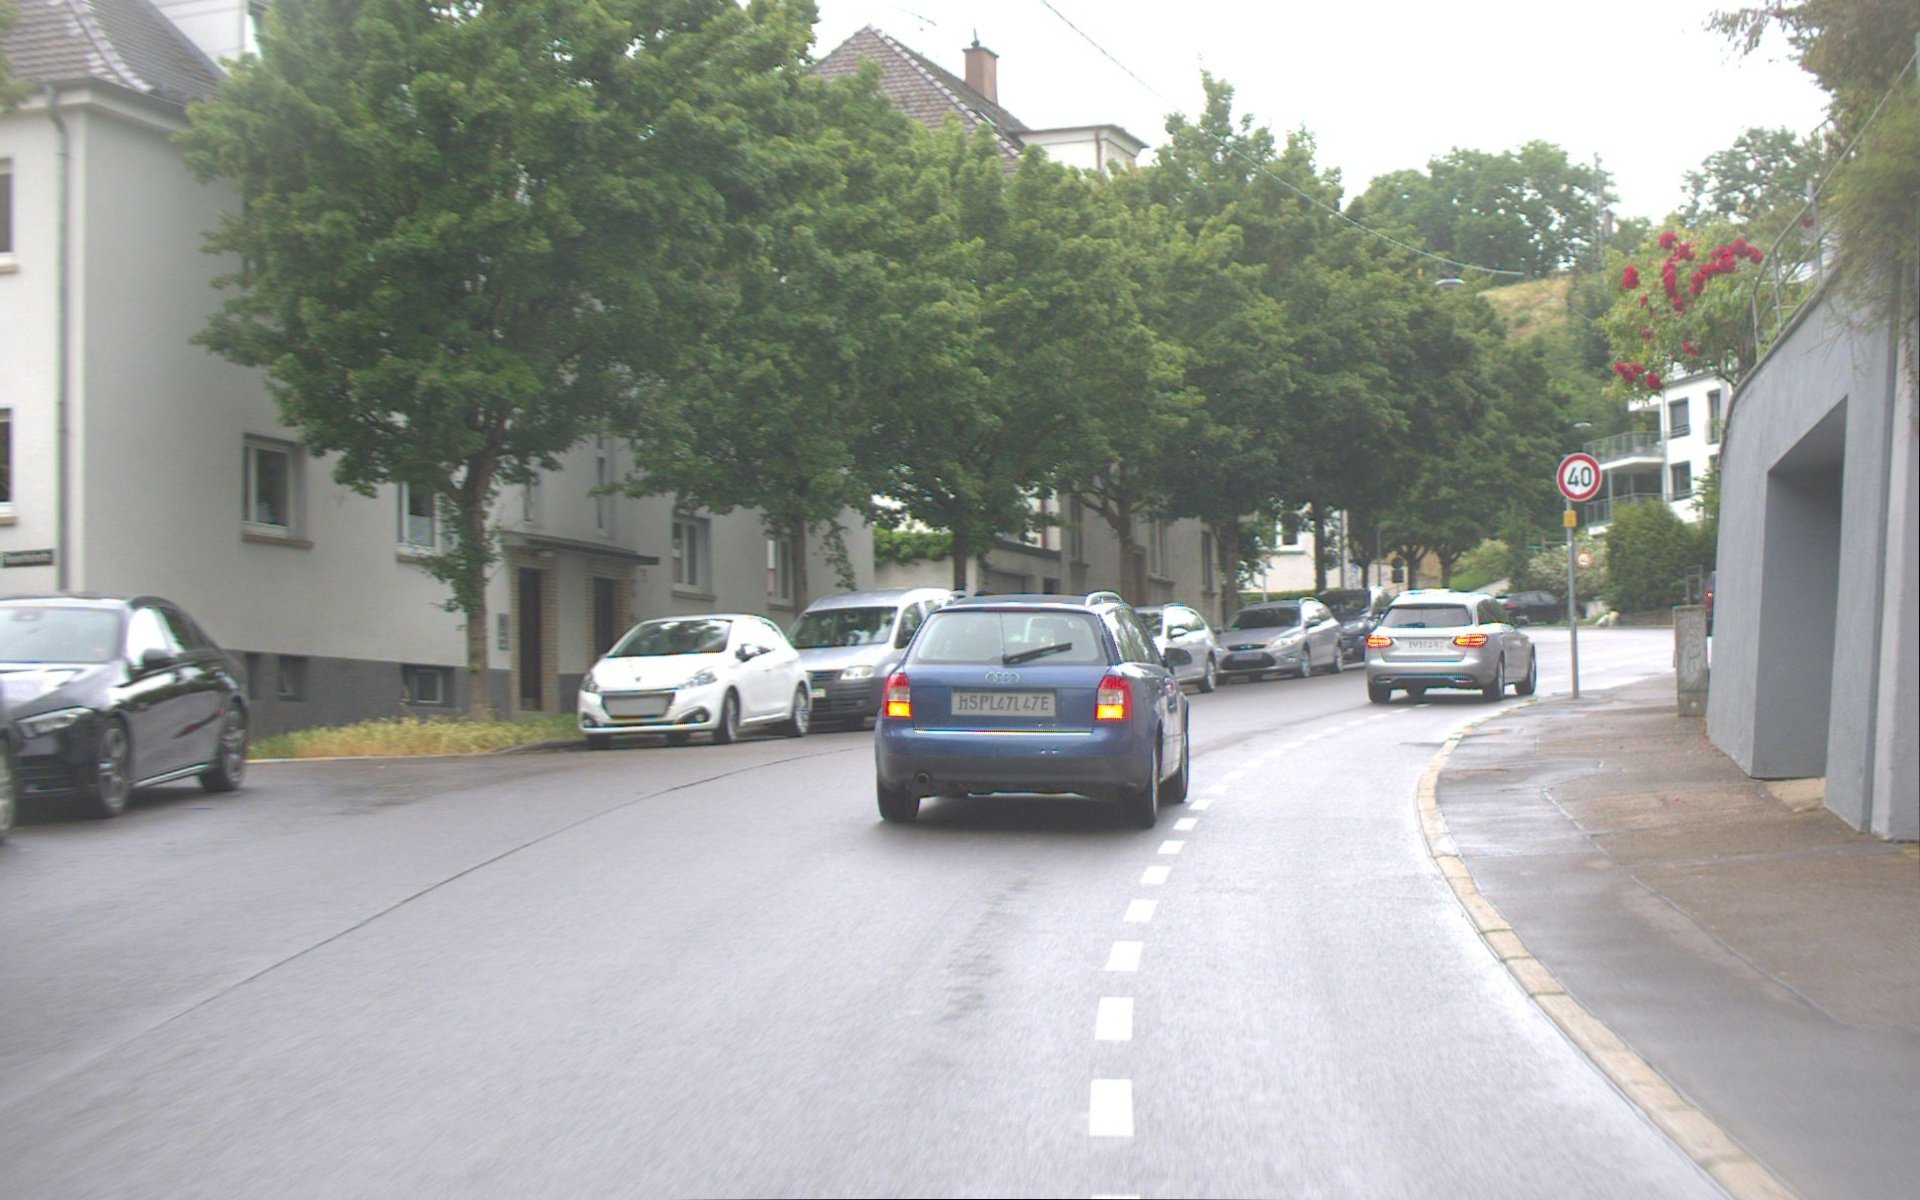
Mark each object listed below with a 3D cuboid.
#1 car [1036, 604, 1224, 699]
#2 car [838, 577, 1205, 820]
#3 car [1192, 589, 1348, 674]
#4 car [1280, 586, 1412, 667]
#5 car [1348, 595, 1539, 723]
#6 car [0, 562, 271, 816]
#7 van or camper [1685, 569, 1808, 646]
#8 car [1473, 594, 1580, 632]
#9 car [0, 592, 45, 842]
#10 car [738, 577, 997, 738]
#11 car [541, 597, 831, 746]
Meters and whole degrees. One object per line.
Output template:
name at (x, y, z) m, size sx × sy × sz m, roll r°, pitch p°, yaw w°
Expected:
car at (2.763, 0.827, 54.696) m, size 1.806 × 1.448 × 4.592 m, roll 0°, pitch -1°, yaw 19°
car at (0.510, 0.575, 22.416) m, size 1.854 × 1.409 × 4.360 m, roll -1°, pitch 0°, yaw 8°
car at (5.894, 0.616, 64.889) m, size 1.806 × 1.547 × 4.795 m, roll 0°, pitch -1°, yaw 19°
car at (7.984, 0.535, 70.865) m, size 1.806 × 1.621 × 4.135 m, roll 0°, pitch 0°, yaw 19°
car at (6.651, 0.762, 46.957) m, size 1.951 × 1.556 × 4.260 m, roll 2°, pitch 1°, yaw 16°
car at (-6.089, 0.537, 23.141) m, size 1.775 × 1.535 × 4.516 m, roll 1°, pitch 0°, yaw 3°
van or camper at (21.941, 0.237, 95.852) m, size 1.997 × 2.007 × 3.991 m, roll -1°, pitch -2°, yaw 35°
car at (23.263, 0.527, 141.123) m, size 4.168 × 1.503 × 1.740 m, roll -1°, pitch 0°, yaw -30°
car at (-6.146, 0.665, 18.028) m, size 1.614 × 1.392 × 4.323 m, roll 0°, pitch 0°, yaw -1°
car at (-1.146, 0.757, 45.039) m, size 1.916 × 1.994 × 4.543 m, roll 0°, pitch -1°, yaw 19°
car at (-3.049, 0.824, 39.214) m, size 1.785 × 1.509 × 4.342 m, roll -4°, pitch -2°, yaw 16°
